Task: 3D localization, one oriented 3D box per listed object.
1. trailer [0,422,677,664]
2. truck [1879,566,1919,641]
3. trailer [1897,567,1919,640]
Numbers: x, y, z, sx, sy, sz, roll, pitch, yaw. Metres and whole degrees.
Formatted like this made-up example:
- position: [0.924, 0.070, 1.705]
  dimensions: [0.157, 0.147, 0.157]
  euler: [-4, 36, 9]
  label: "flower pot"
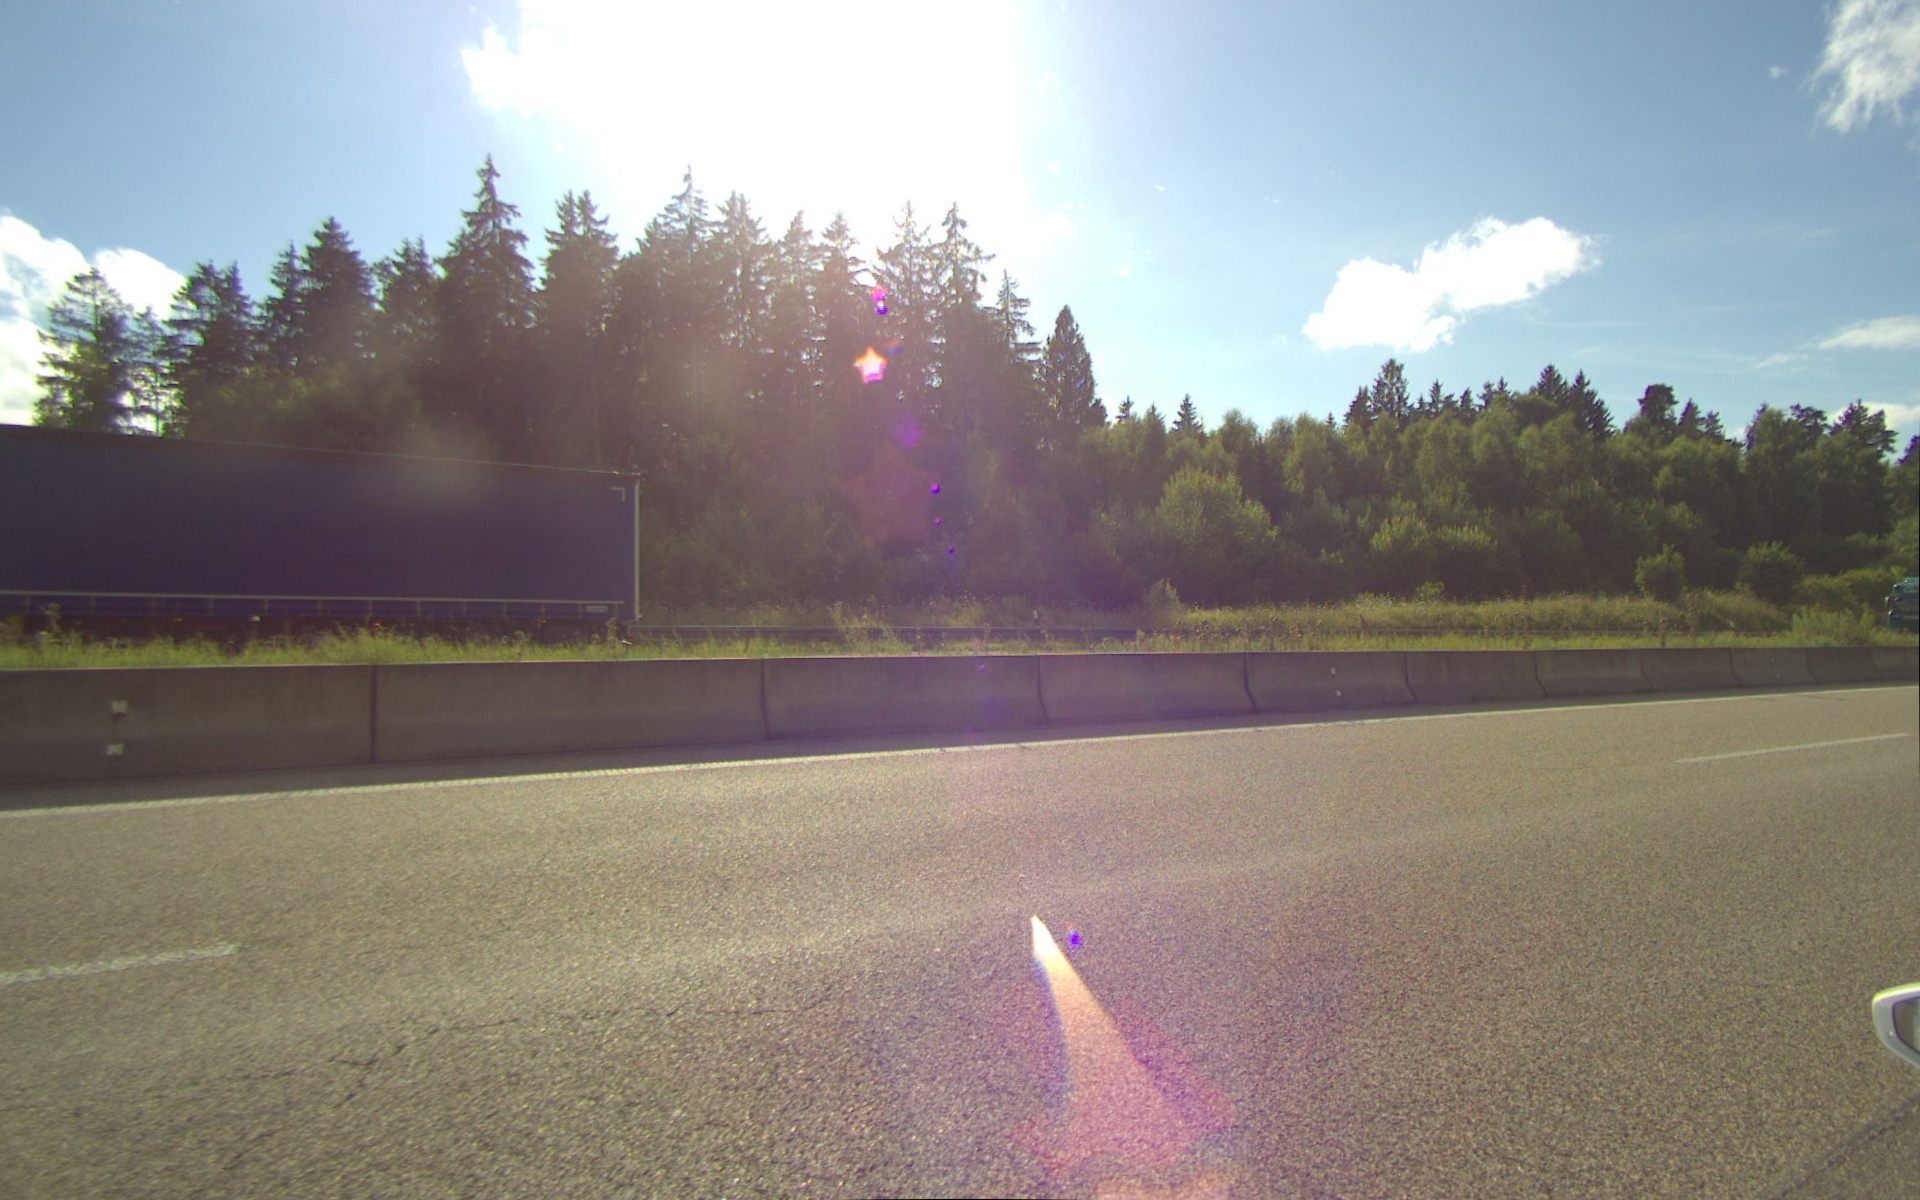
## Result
- position: [-12.128, -0.835, 18.572]
  dimensions: [13.116, 3.778, 2.268]
  euler: [1, 0, -30]
  label: "trailer"
- position: [55.381, 0.220, 57.085]
  dimensions: [6.335, 4.140, 2.639]
  euler: [1, 0, -28]
  label: "truck"
- position: [60.309, 0.287, 59.707]
  dimensions: [13.034, 4.140, 2.639]
  euler: [1, 0, -28]
  label: "trailer"
